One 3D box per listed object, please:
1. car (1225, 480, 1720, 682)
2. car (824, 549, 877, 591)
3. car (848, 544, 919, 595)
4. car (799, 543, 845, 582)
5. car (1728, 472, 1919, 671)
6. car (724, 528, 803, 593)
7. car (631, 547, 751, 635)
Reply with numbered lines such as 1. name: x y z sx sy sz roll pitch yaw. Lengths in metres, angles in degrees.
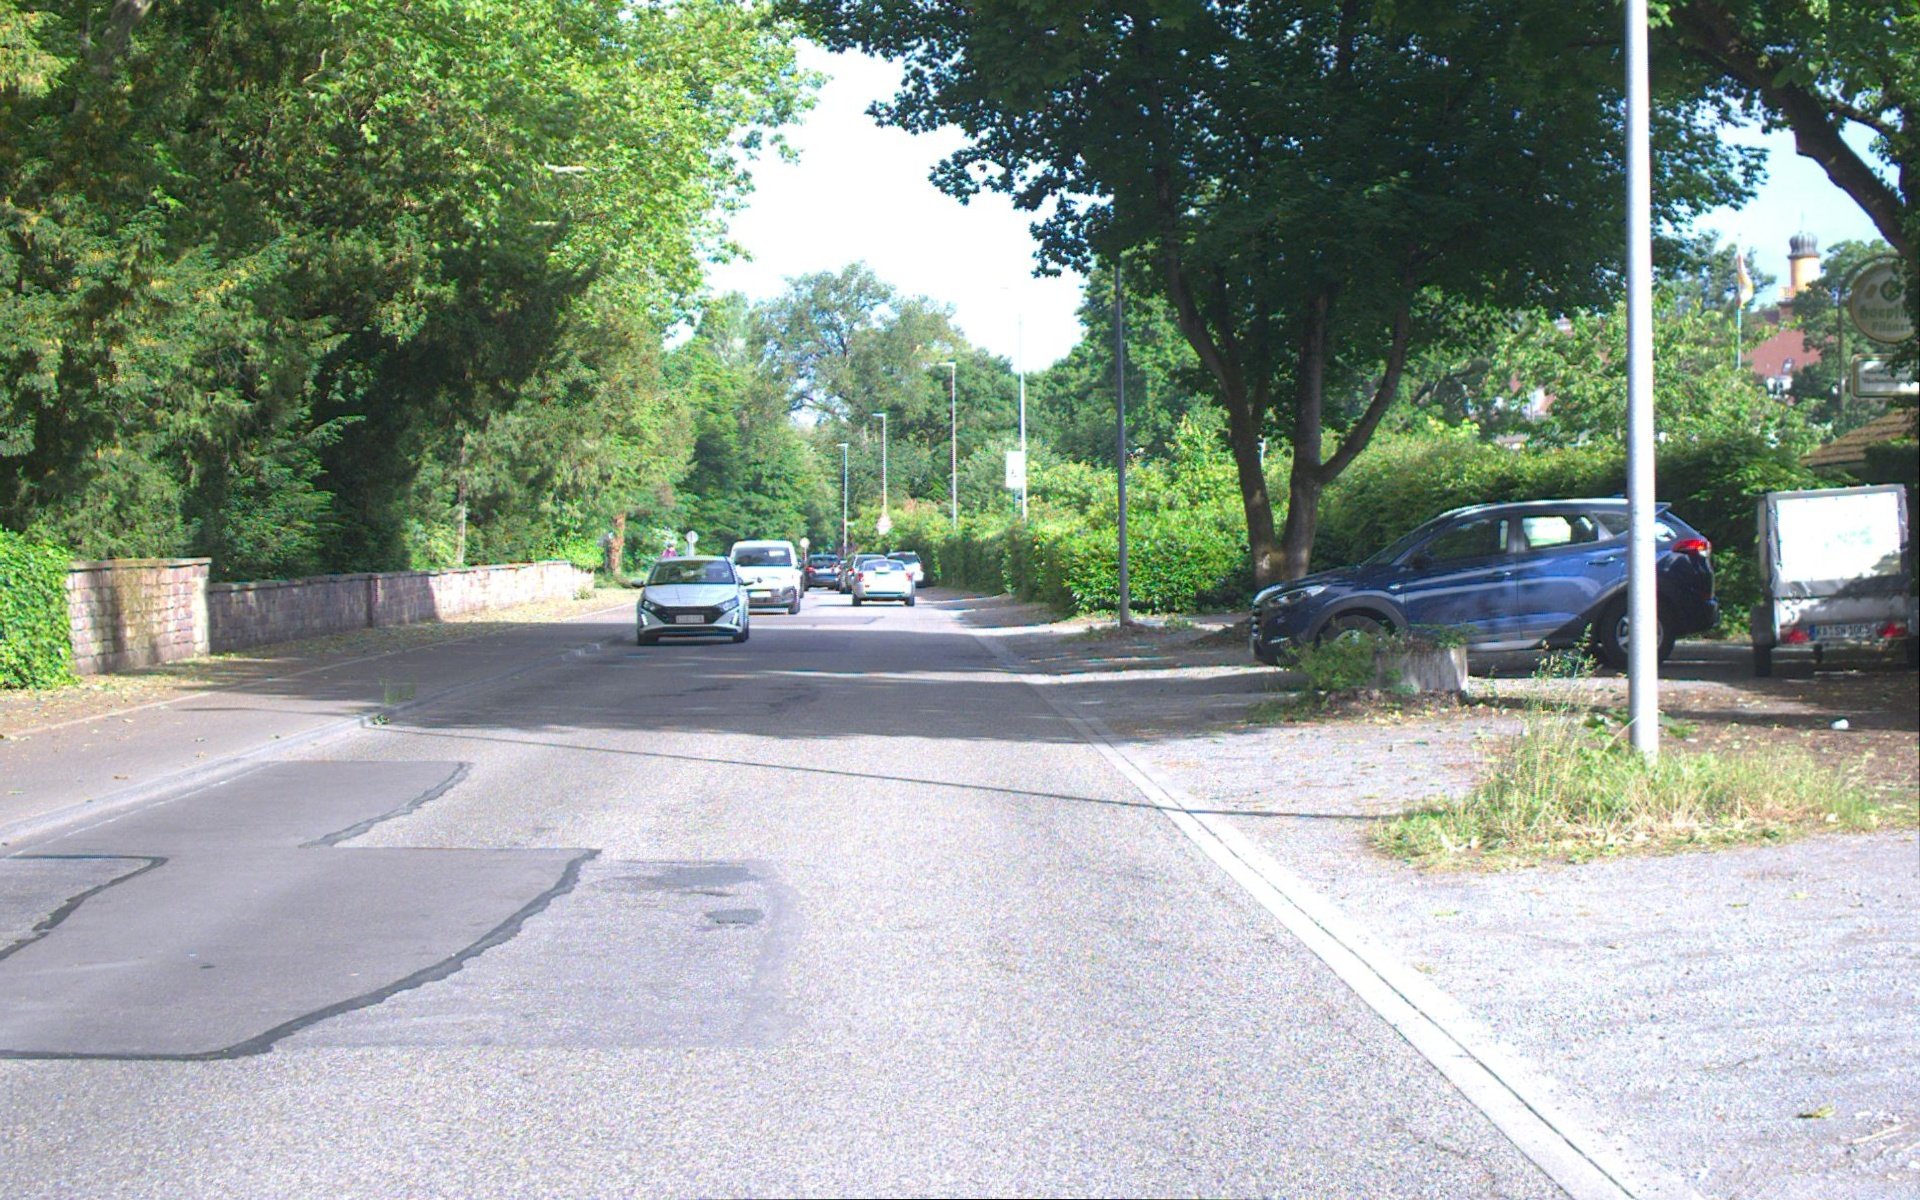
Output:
1. car: 4.891 -0.201 33.270 4.403 1.641 2.000 -3 1 0
2. car: -3.964 -1.095 123.908 1.886 1.460 4.055 -1 1 -2
3. car: -2.168 -0.871 96.627 1.886 1.367 4.055 -1 1 -2
4. car: -5.921 -1.618 147.563 1.886 1.608 4.055 -1 1 -2
5. car: 7.887 -0.308 31.422 1.351 1.627 4.110 -3 1 9
6. car: -4.867 -0.990 85.573 1.886 1.559 4.055 -1 1 -2
7. car: -4.423 -0.182 56.871 1.886 1.367 4.055 -1 1 -4
